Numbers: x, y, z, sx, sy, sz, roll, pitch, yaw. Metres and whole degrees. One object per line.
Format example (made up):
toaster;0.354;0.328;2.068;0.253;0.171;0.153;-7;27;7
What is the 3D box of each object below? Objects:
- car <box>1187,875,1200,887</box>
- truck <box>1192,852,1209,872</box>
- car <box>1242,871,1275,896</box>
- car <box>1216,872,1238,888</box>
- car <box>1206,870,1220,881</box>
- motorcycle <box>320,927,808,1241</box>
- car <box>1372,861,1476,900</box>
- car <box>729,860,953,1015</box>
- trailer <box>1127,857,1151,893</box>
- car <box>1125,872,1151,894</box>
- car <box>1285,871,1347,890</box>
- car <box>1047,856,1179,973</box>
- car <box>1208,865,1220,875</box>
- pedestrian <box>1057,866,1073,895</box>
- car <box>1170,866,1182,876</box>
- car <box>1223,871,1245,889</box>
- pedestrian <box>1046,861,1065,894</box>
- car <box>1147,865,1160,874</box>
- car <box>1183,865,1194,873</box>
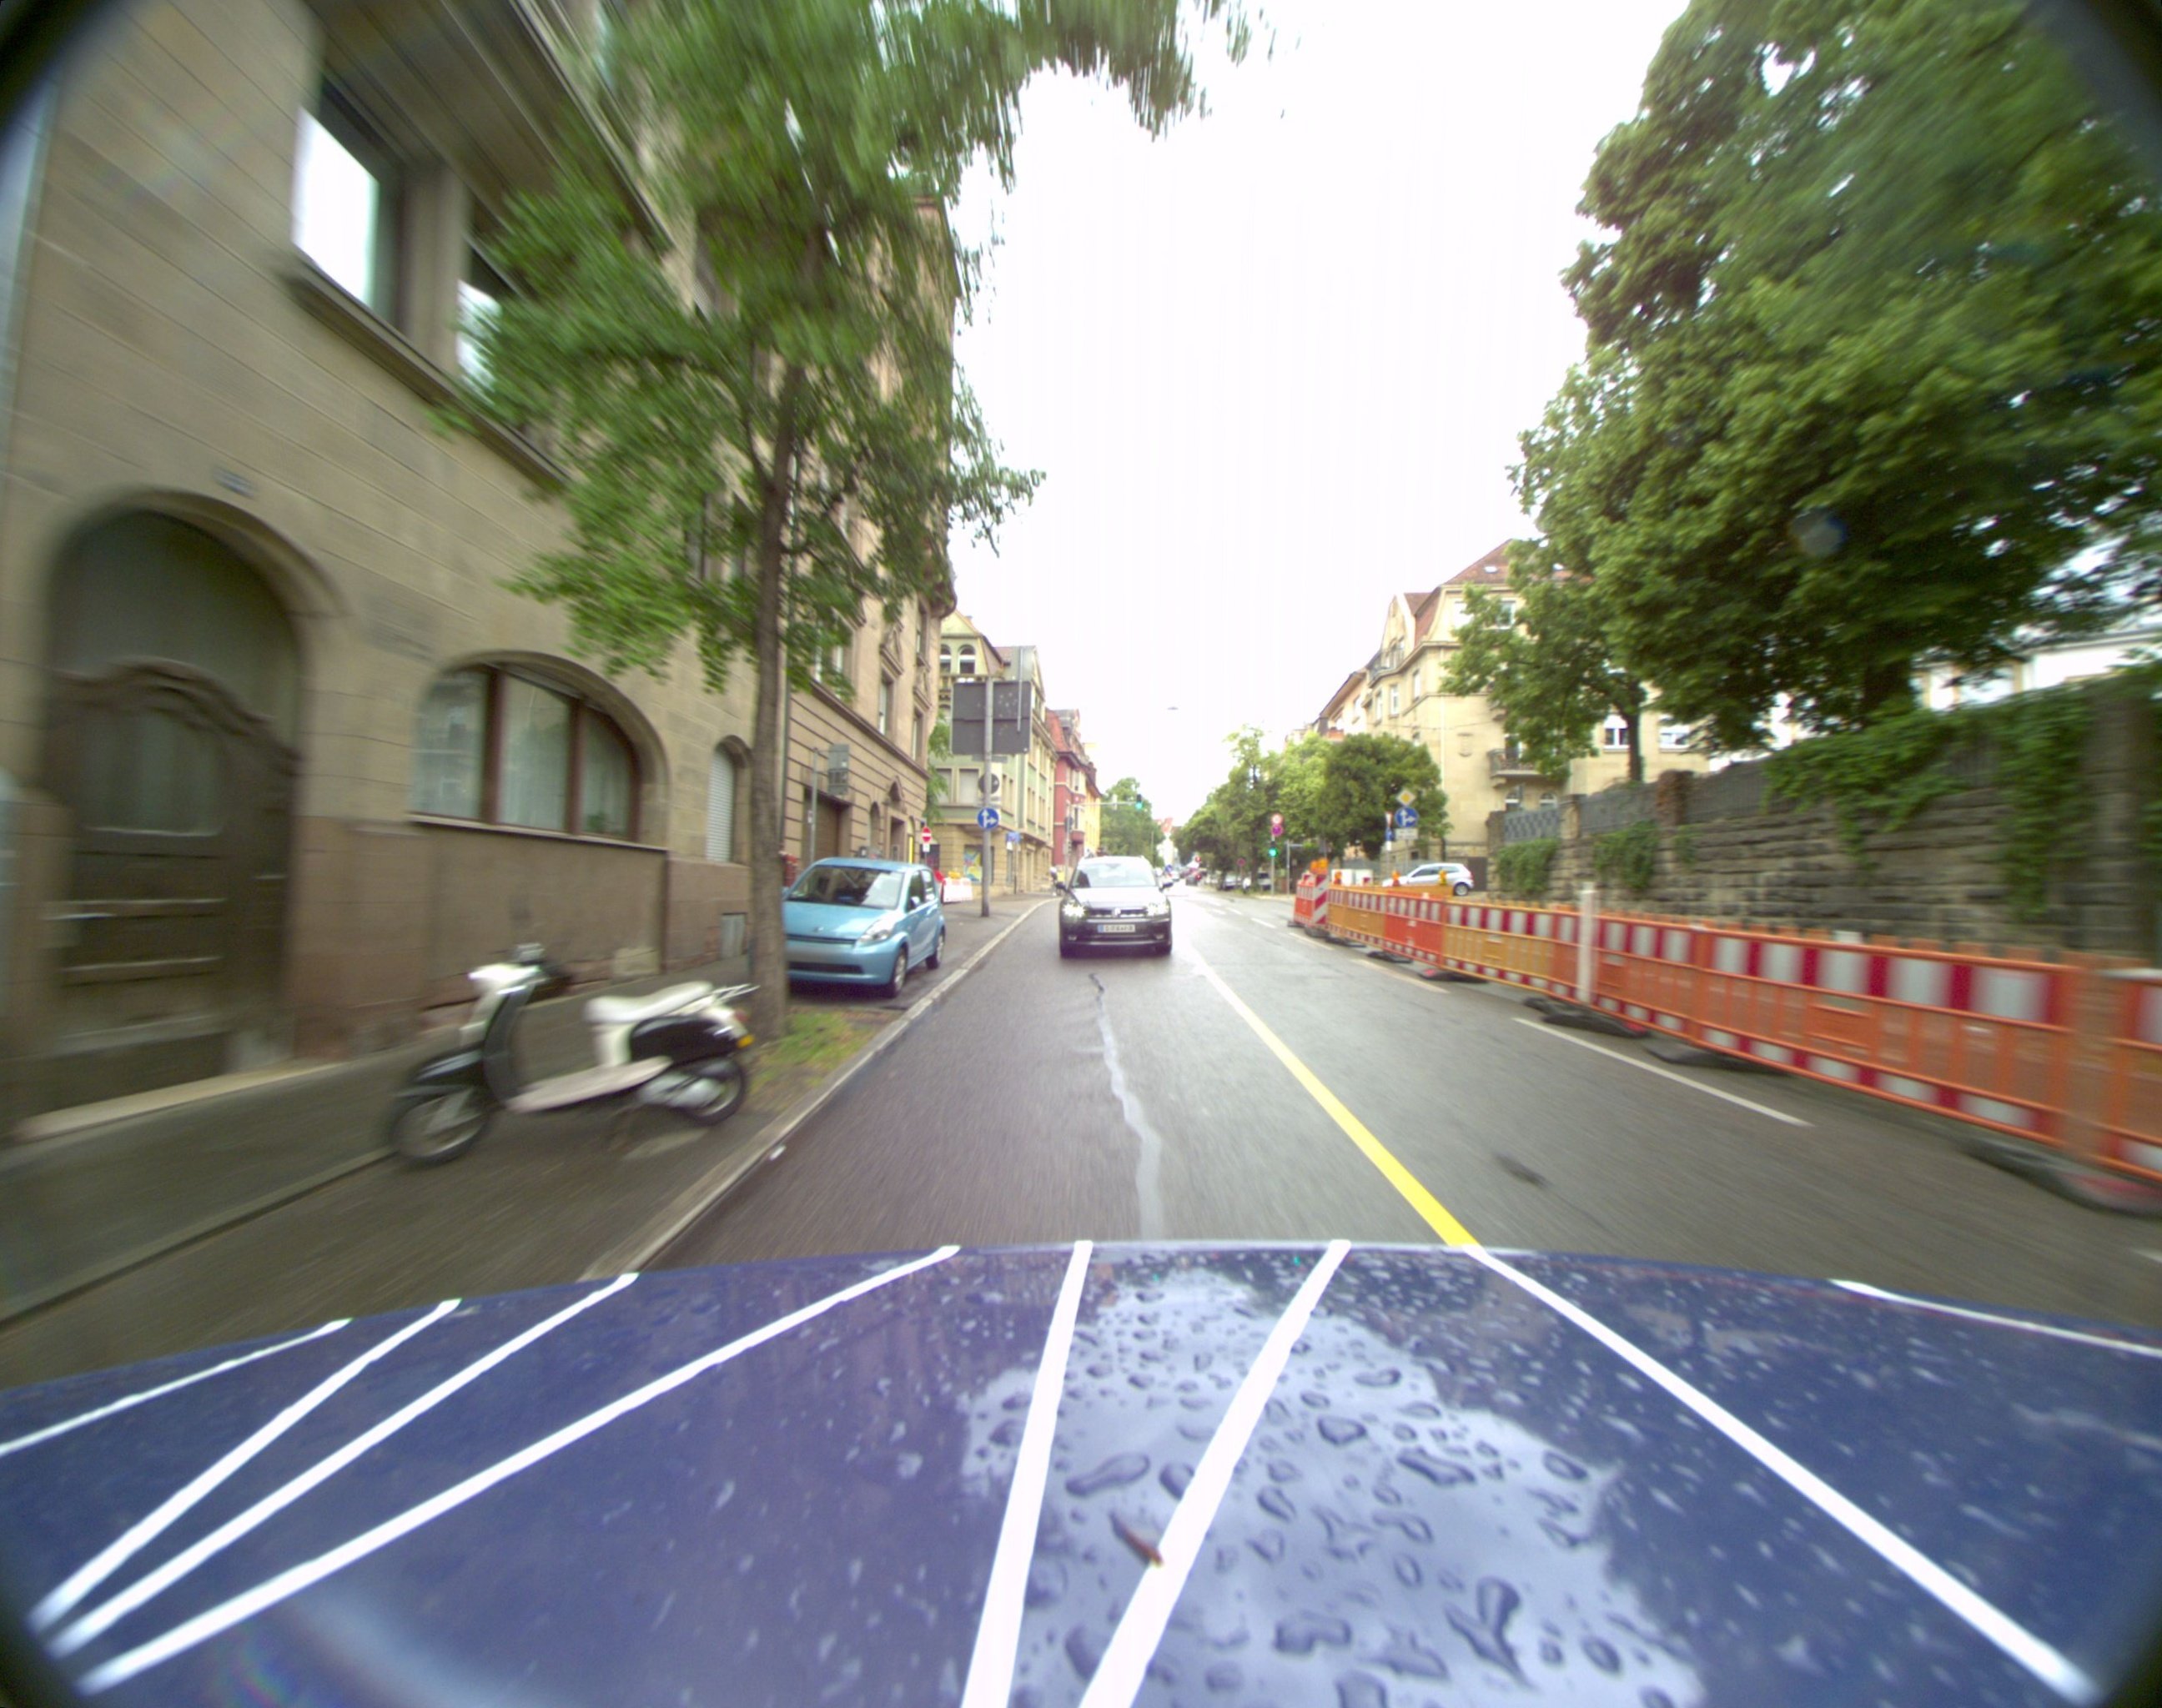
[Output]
car;16.820;4.093;113.880;1.819;1.507;4.554;2;-4;7
truck;25.201;1.713;160.635;2.653;3.831;9.311;2;-1;4
car;12.207;1.986;52.535;1.745;1.550;4.305;-2;-1;7
car;15.672;2.762;81.806;1.745;1.550;4.304;-3;-1;4
car;20.134;3.200;115.927;1.745;1.550;4.304;-2;-1;5
motorcycle;-2.546;1.039;4.001;1.943;1.228;0.656;3;-1;-35
car;15.229;1.167;33.932;3.869;1.400;1.827;-4;1;12
car;-2.811;0.885;9.760;1.661;1.534;3.665;2;0;0
trailer;5.098;1.800;66.314;1.966;3.023;2.366;-2;-1;6
car;4.766;2.392;63.093;1.924;1.641;4.137;-2;-1;6
car;17.060;1.935;55.287;3.995;1.318;1.838;0;-2;6
car;0.568;0.909;13.292;1.859;1.641;5.197;0;-1;3
car;24.685;2.940;141.067;1.999;1.586;3.831;-3;-1;12
pedestrian;-0.901;1.490;42.805;0.600;1.575;0.664;3;-2;-34
car;16.246;2.876;129.655;1.775;1.508;4.103;0;0;10
car;14.766;2.498;73.608;1.745;1.550;4.305;-2;-1;7
pedestrian;-1.406;1.295;42.142;0.663;1.763;0.722;1;-2;41
car;14.418;3.101;150.561;1.970;1.641;4.820;3;1;12
car;21.614;2.944;152.461;1.714;1.471;4.118;2;0;13
